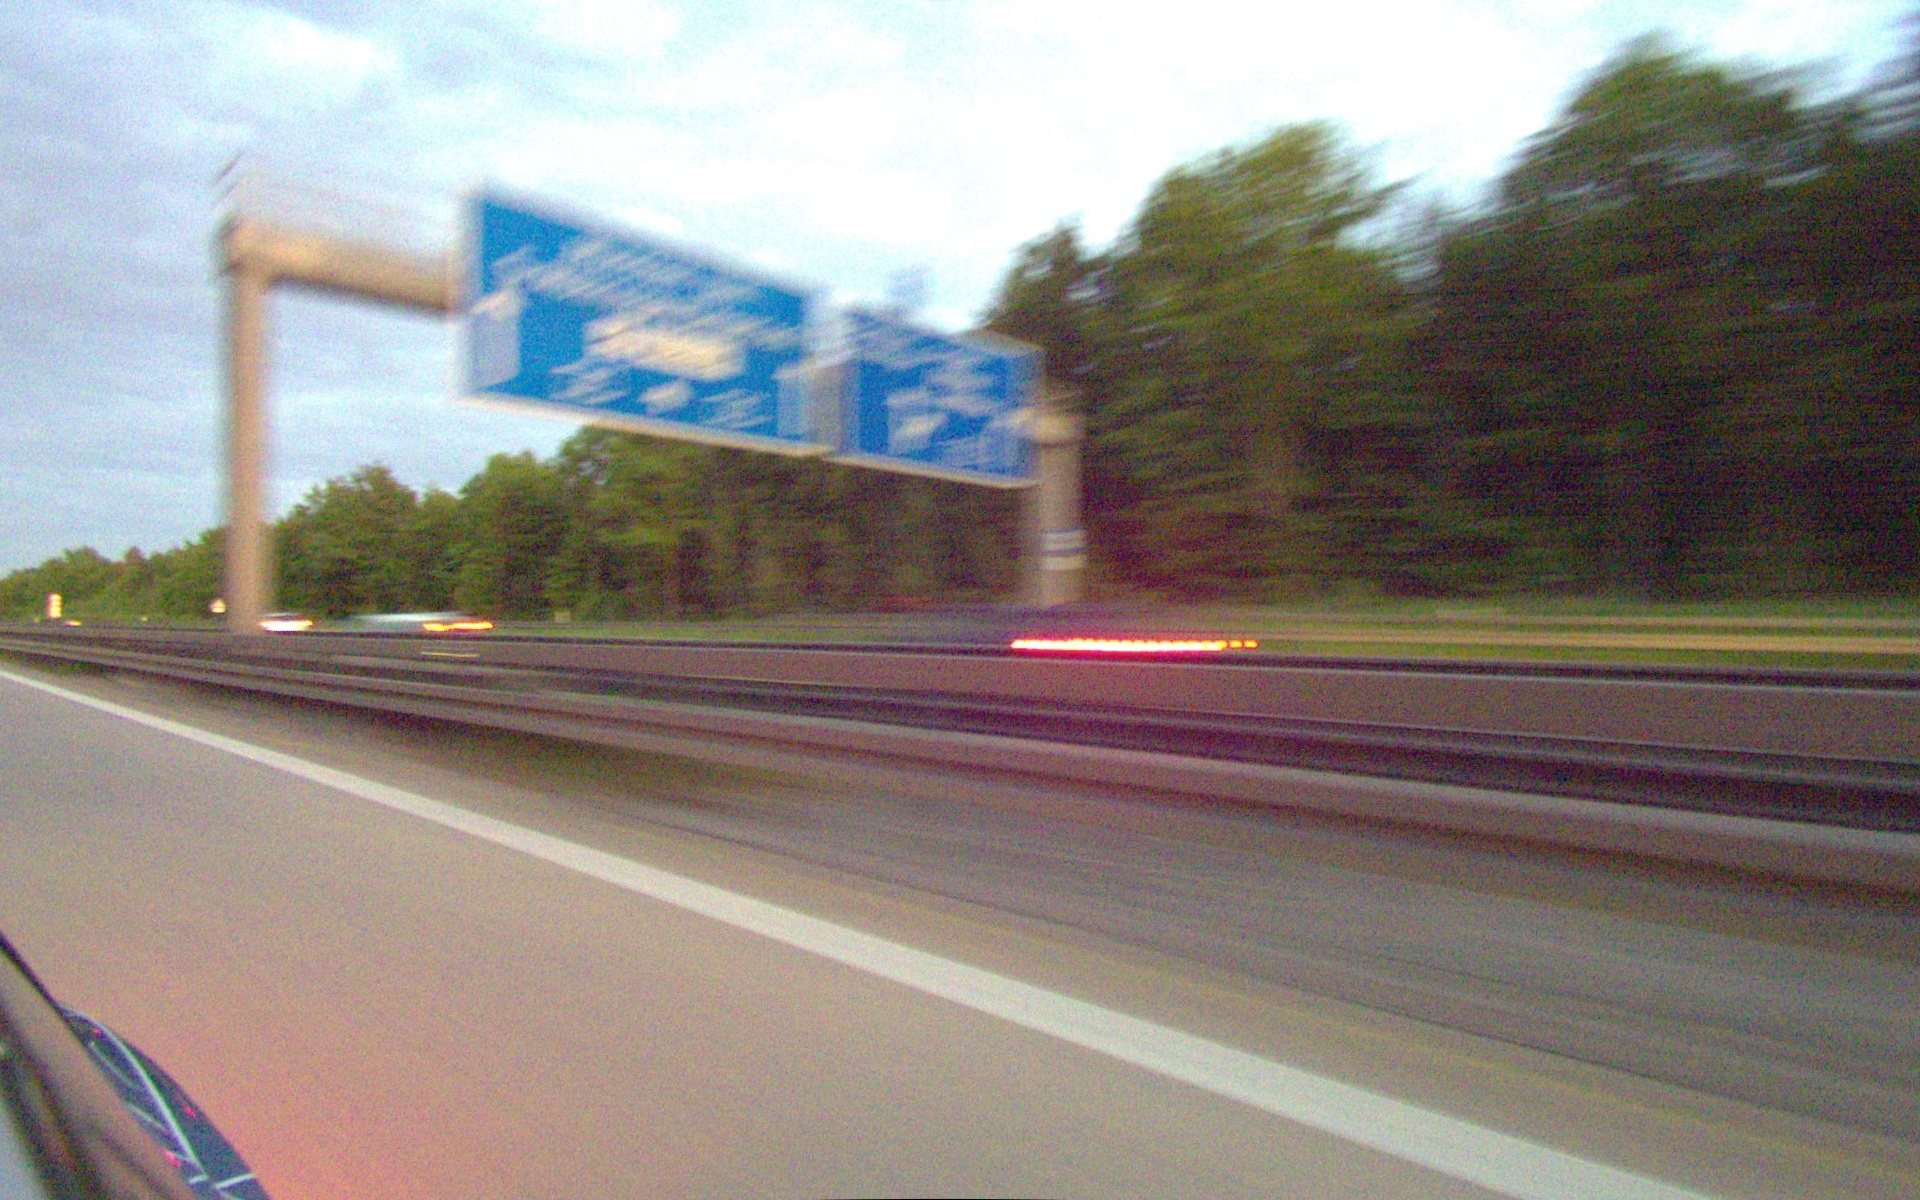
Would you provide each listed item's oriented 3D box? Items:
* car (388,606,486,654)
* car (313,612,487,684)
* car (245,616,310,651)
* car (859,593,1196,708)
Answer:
[{"bbox_3d":[-21.224,1.202,41.008,4.369,1.811,1.973,-1,-1,40],"label":"car"},{"bbox_3d":[-12.562,1.023,22.606,4.369,1.447,1.973,-1,-1,40],"label":"car"},{"bbox_3d":[-37.780,1.849,55.989,4.204,1.811,1.973,-1,-1,41],"label":"car"},{"bbox_3d":[0.832,0.666,14.731,4.802,1.421,1.720,-1,-1,40],"label":"car"}]
